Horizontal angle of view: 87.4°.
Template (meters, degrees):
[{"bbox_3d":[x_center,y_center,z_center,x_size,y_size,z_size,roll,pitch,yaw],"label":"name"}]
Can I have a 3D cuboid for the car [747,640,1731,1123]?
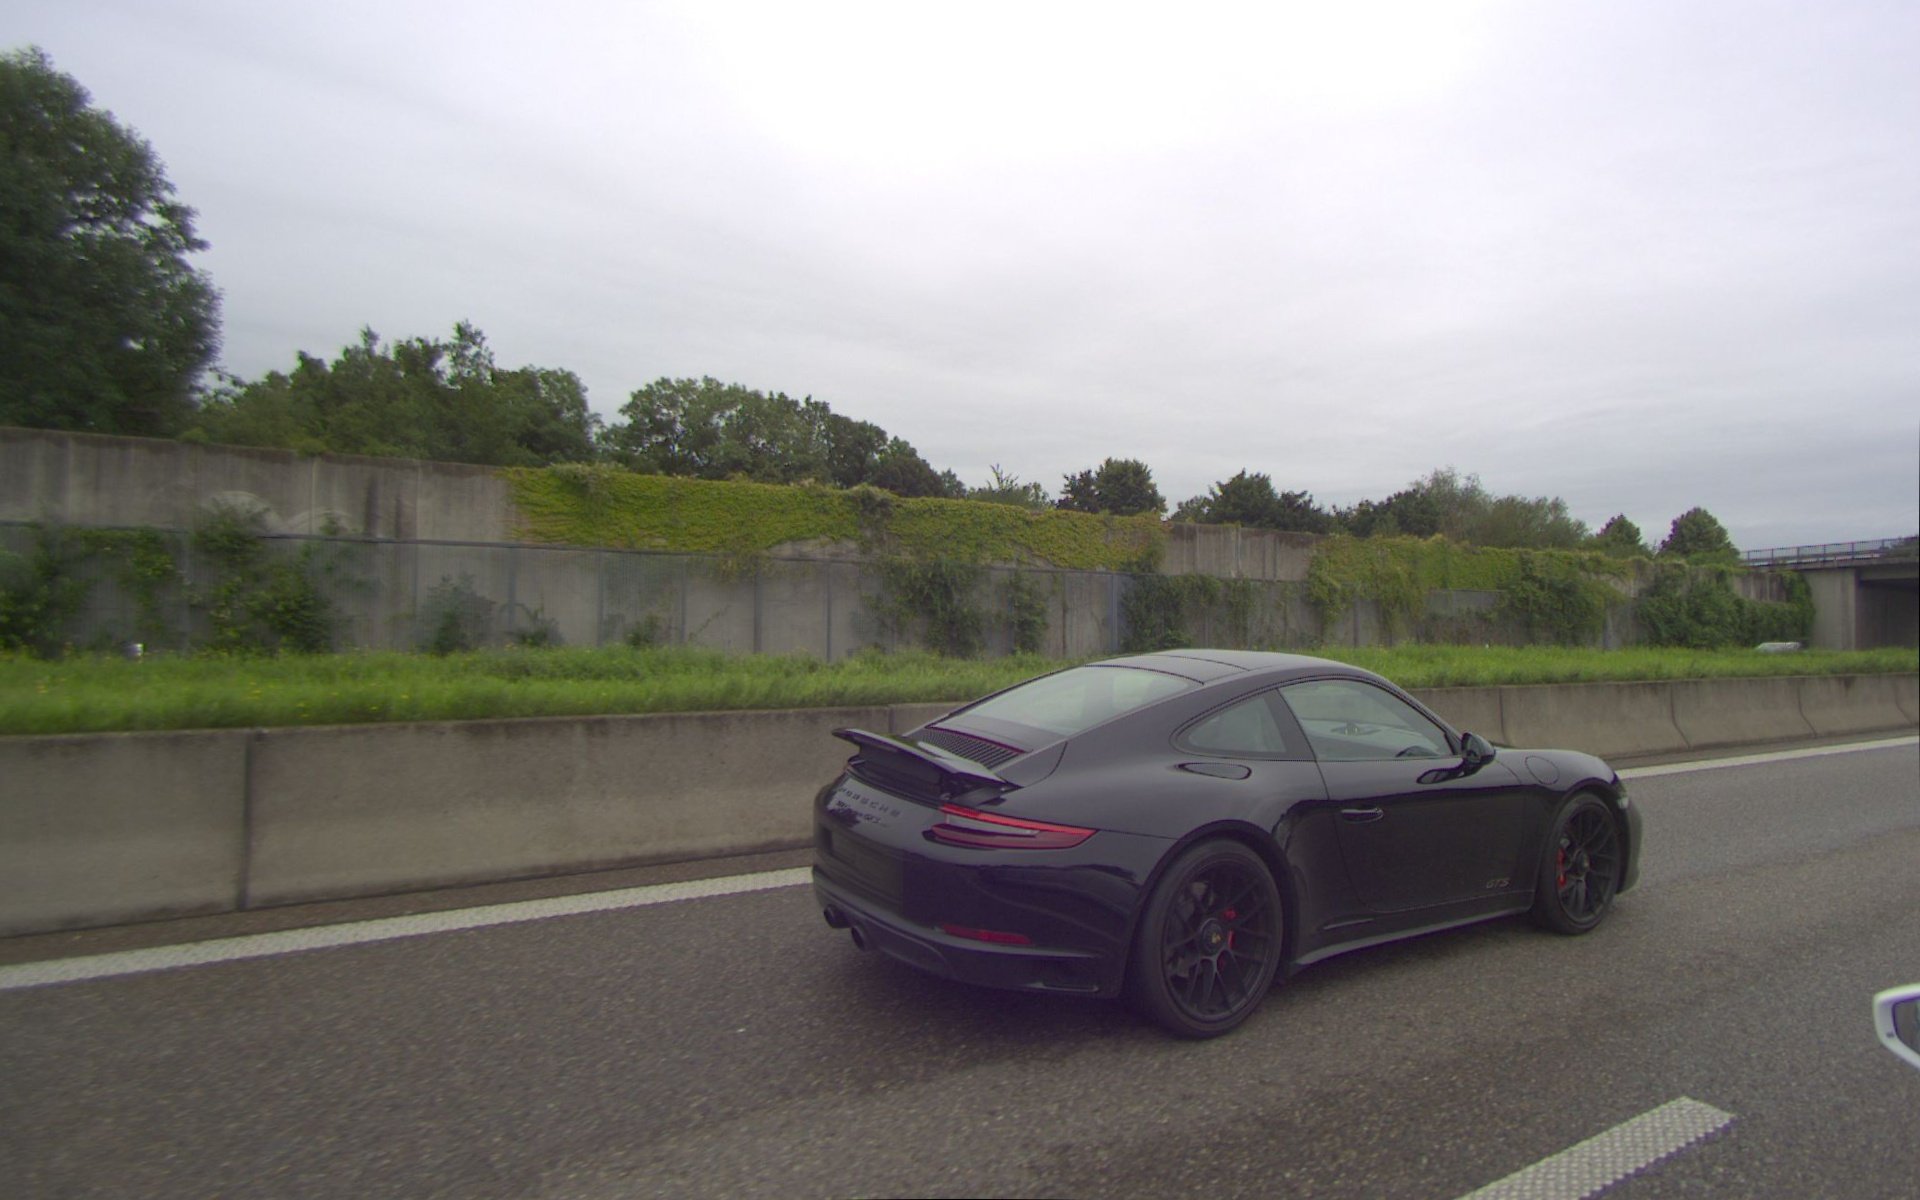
[{"bbox_3d":[1.606,0.891,4.805,4.869,1.289,1.643,2,0,-31],"label":"car"}]
